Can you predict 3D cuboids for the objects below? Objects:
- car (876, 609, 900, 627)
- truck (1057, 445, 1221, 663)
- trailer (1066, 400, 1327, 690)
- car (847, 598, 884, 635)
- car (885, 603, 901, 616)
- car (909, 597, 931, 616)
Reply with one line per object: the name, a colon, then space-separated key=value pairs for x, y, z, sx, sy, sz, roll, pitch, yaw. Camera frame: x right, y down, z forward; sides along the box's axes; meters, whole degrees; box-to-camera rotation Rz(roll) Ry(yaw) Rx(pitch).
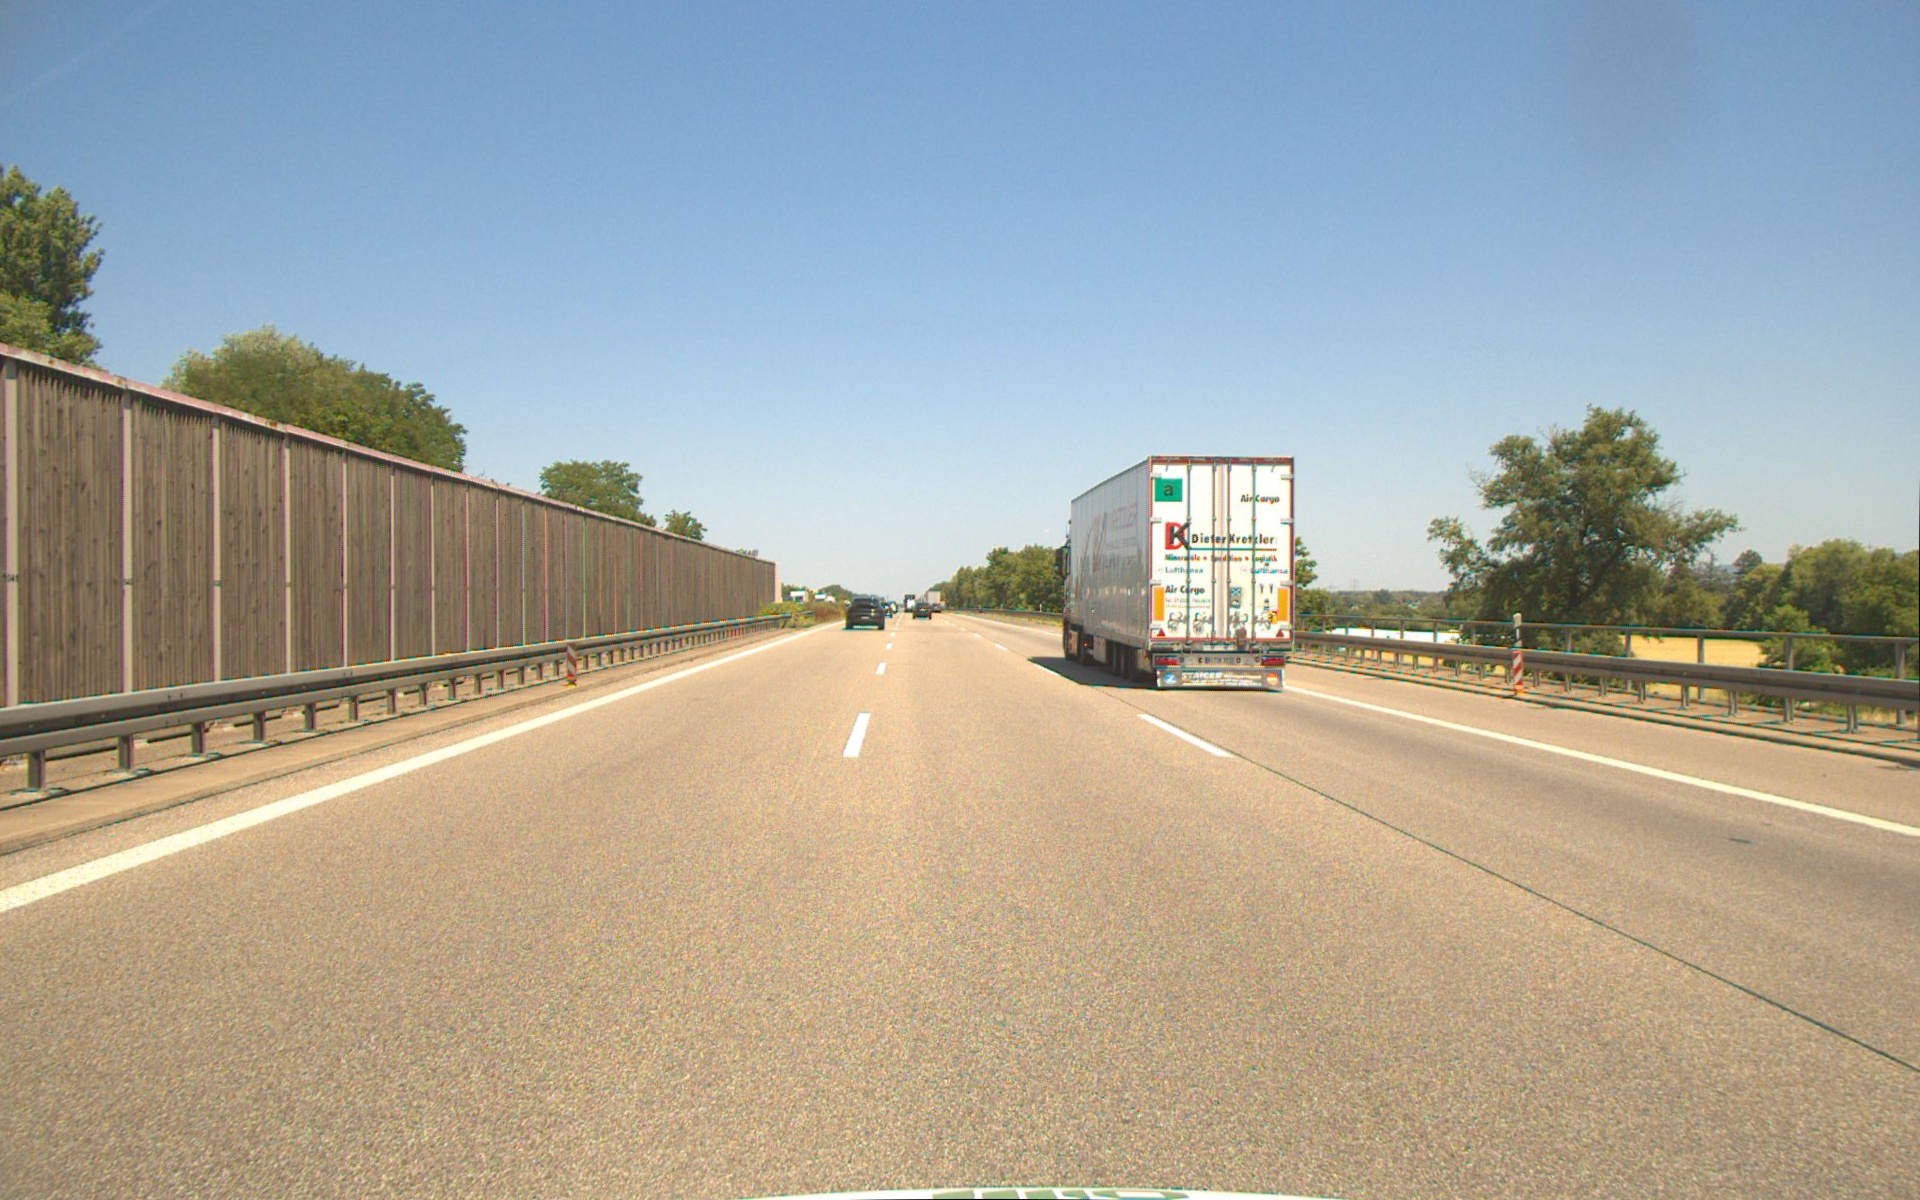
car: x=-6.626 y=1.653 z=153.211 sx=2.085 sy=1.674 sz=4.302 roll=-1 pitch=-1 yaw=-2
truck: x=4.334 y=-1.088 z=41.549 sx=3.169 sy=4.974 sz=6.970 roll=1 pitch=0 yaw=-1
trailer: x=4.493 y=-0.990 z=35.223 sx=3.203 sy=4.922 sz=14.025 roll=1 pitch=0 yaw=-1
car: x=-4.850 y=0.822 z=85.032 sx=1.843 sy=1.823 sz=3.998 roll=0 pitch=1 yaw=-3
car: x=-8.793 y=1.201 z=216.941 sx=2.085 sy=1.674 sz=4.302 roll=-1 pitch=-1 yaw=-2
car: x=-3.465 y=0.544 z=144.572 sx=1.864 sy=1.611 sz=4.302 roll=-1 pitch=-1 yaw=-2
